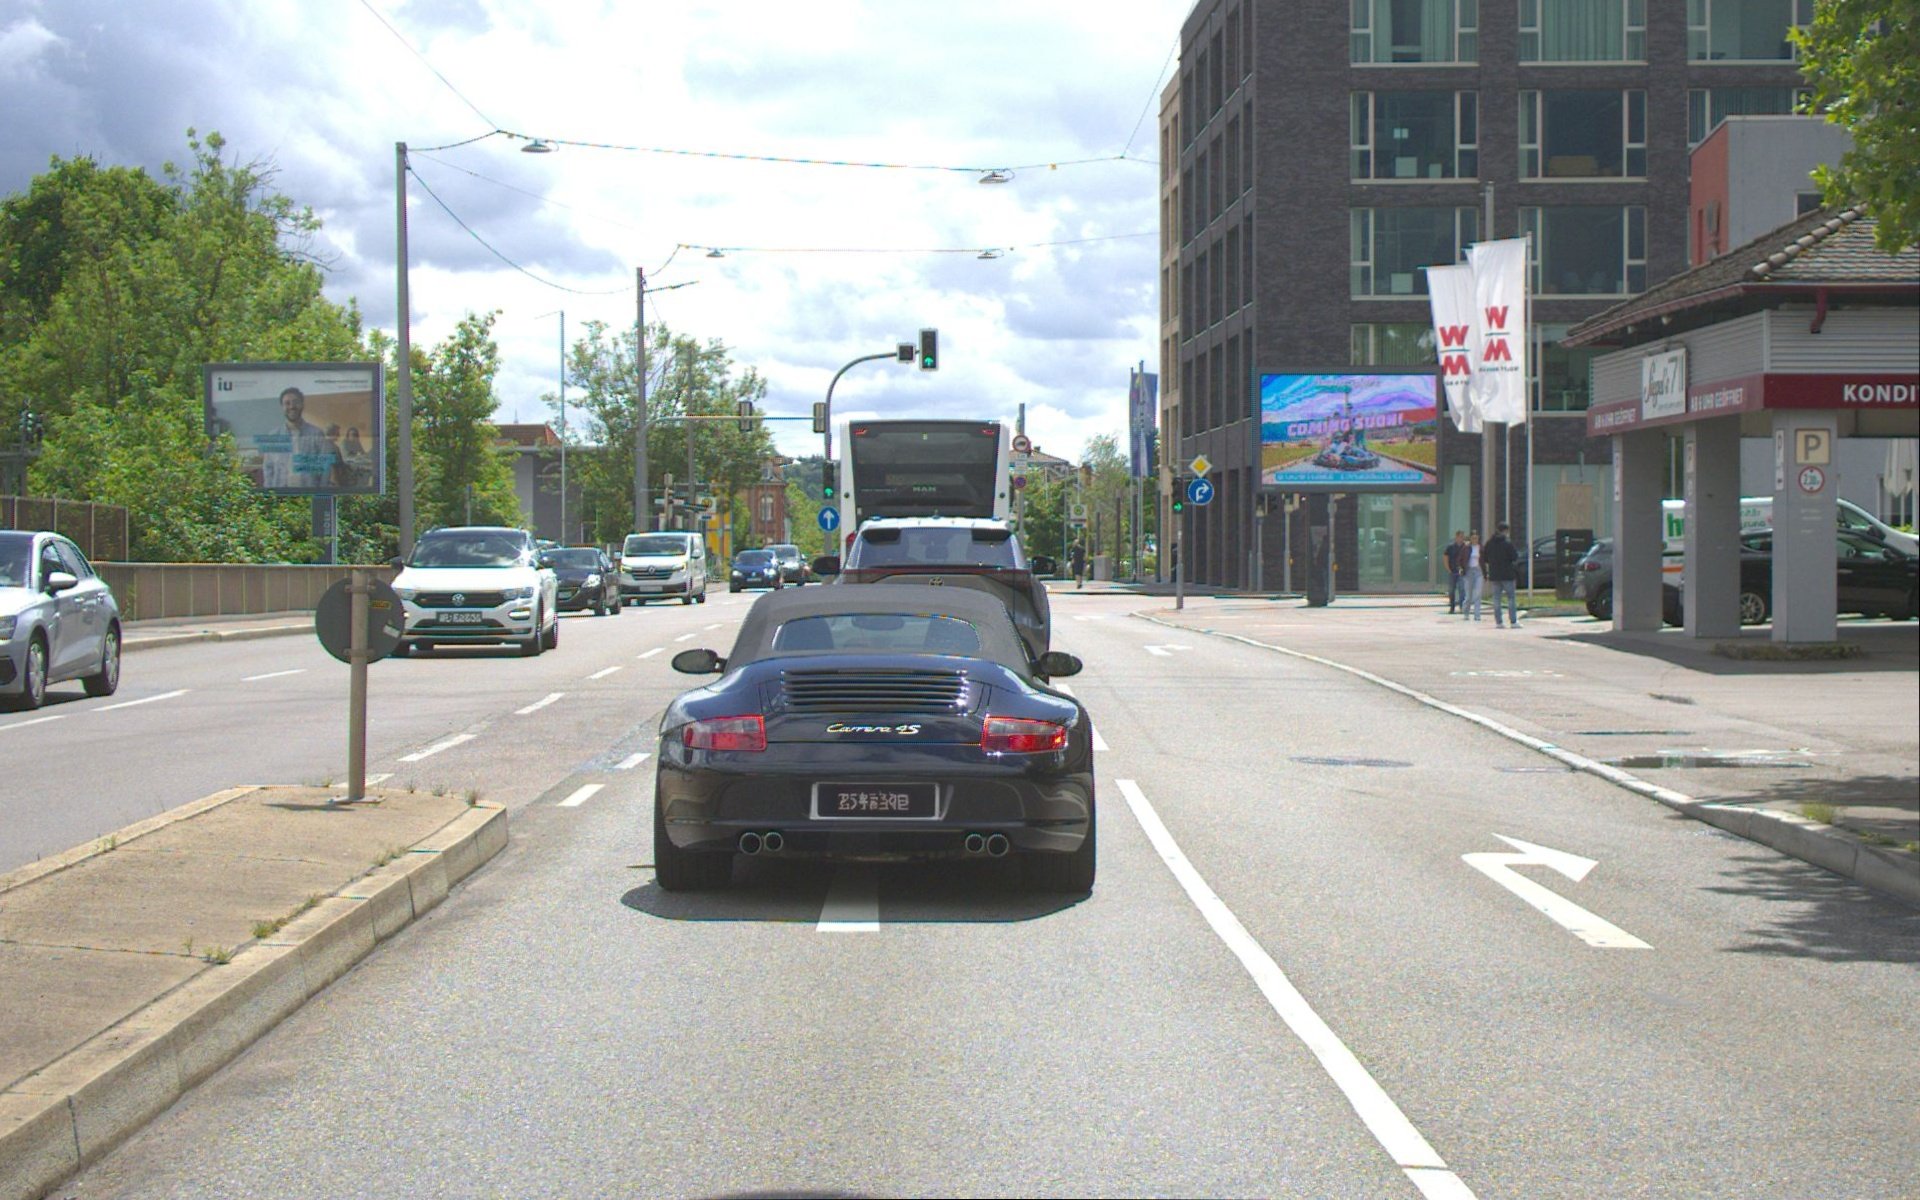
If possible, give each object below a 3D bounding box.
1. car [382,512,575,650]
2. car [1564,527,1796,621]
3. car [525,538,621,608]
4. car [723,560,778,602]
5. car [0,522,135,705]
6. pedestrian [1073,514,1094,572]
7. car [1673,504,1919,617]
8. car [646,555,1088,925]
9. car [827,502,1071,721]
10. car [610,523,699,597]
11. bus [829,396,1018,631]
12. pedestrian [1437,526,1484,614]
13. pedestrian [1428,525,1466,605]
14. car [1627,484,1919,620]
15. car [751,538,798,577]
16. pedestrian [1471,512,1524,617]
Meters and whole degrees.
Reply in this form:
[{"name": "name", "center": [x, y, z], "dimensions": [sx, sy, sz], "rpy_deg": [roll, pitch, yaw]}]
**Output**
[{"name": "car", "center": [-5.765, -0.251, 41.576], "dimensions": [1.810, 1.555, 4.208], "rpy_deg": [1, 1, -1]}, {"name": "car", "center": [12.937, -0.470, 61.932], "dimensions": [3.759, 1.436, 1.719], "rpy_deg": [-4, 1, 1]}, {"name": "car", "center": [-8.197, -0.582, 73.116], "dimensions": [1.628, 1.425, 4.000], "rpy_deg": [0, 1, 0]}, {"name": "car", "center": [-7.286, -0.678, 119.660], "dimensions": [1.662, 1.411, 3.803], "rpy_deg": [0, 1, 0]}, {"name": "car", "center": [-7.951, 0.058, 27.692], "dimensions": [1.637, 1.358, 4.195], "rpy_deg": [0, 1, -1]}, {"name": "pedestrian", "center": [4.290, -1.968, 119.203], "dimensions": [0.666, 2.007, 0.769], "rpy_deg": [0, 1, -2]}, {"name": "car", "center": [12.873, -0.590, 50.678], "dimensions": [4.300, 1.508, 1.846], "rpy_deg": [-2, 0, 0]}, {"name": "car", "center": [-0.406, 0.527, 15.580], "dimensions": [1.719, 1.270, 4.089], "rpy_deg": [1, 3, -1]}, {"name": "car", "center": [-0.149, 0.030, 29.221], "dimensions": [1.879, 1.588, 4.230], "rpy_deg": [1, 3, -2]}, {"name": "car", "center": [-8.179, -1.072, 92.355], "dimensions": [1.901, 1.880, 5.313], "rpy_deg": [-2, 1, 0]}, {"name": "bus", "center": [-0.497, -1.633, 56.622], "dimensions": [2.689, 3.244, 12.060], "rpy_deg": [2, 4, 0]}, {"name": "pedestrian", "center": [9.677, -0.583, 66.495], "dimensions": [0.707, 1.690, 0.924], "rpy_deg": [0, 1, -3]}, {"name": "pedestrian", "center": [10.088, -0.728, 71.200], "dimensions": [0.670, 1.655, 0.742], "rpy_deg": [0, 1, -2]}, {"name": "car", "center": [12.765, -0.753, 53.747], "dimensions": [4.230, 1.930, 2.029], "rpy_deg": [-2, 1, 1]}, {"name": "car", "center": [-7.483, -1.712, 138.973], "dimensions": [1.662, 1.542, 3.803], "rpy_deg": [0, 1, 0]}, {"name": "pedestrian", "center": [8.688, -0.576, 55.562], "dimensions": [0.681, 1.690, 0.597], "rpy_deg": [1, 1, 25]}]
